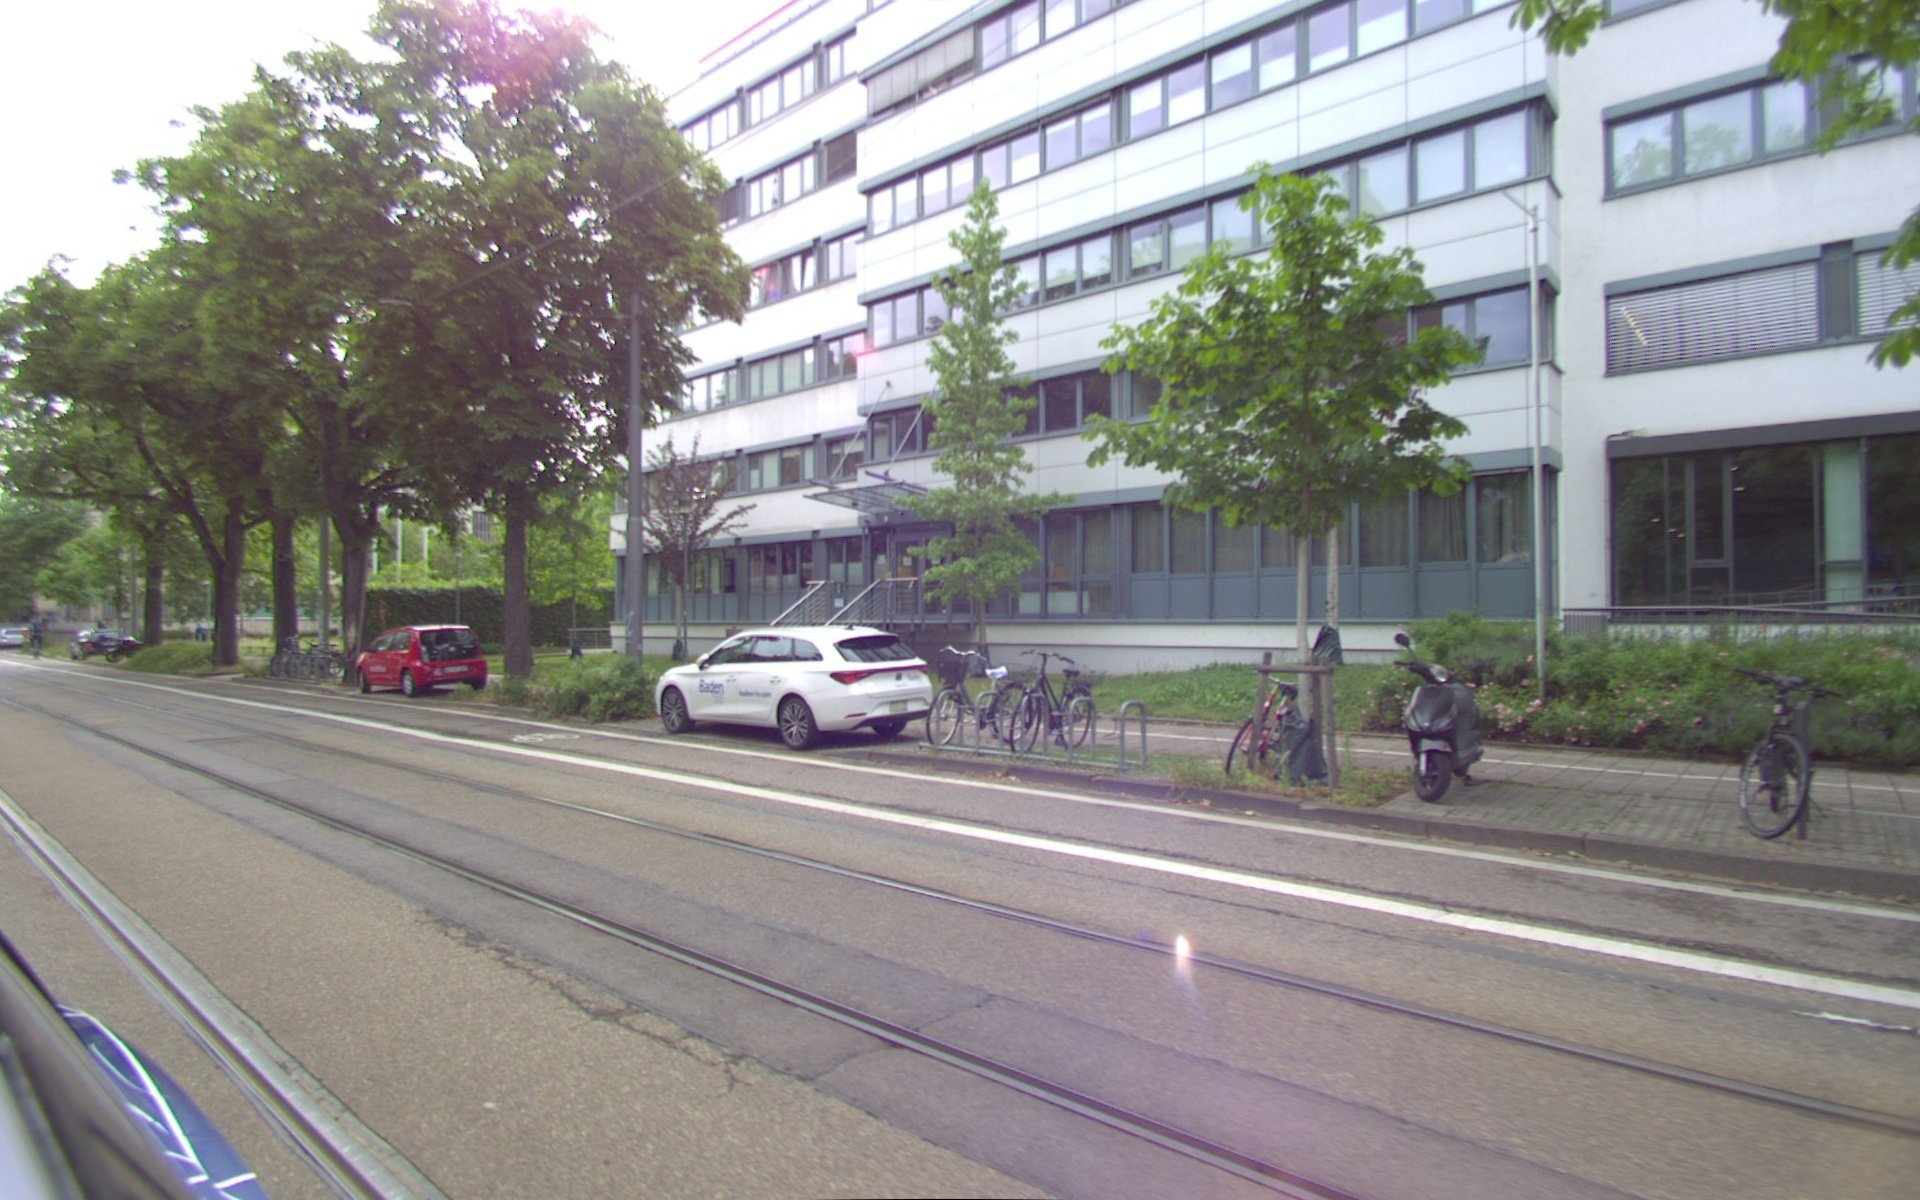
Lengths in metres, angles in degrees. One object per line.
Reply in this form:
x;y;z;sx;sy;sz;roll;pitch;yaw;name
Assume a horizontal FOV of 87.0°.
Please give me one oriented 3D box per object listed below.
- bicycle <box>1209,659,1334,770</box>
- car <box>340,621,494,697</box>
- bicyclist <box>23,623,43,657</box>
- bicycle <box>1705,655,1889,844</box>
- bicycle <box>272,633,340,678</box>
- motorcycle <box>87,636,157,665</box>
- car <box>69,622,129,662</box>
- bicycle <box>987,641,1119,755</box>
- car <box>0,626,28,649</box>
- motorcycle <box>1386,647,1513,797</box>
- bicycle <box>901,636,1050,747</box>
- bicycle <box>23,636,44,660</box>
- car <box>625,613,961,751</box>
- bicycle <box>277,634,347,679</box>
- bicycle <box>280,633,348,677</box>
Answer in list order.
3.011;1.041;9.659;0.631;0.906;1.790;0;-2;35;bicycle
-12.093;1.247;22.452;3.752;1.458;1.612;-1;2;38;car
-43.940;1.891;47.972;0.628;1.549;0.955;-1;0;-45;bicyclist
5.745;0.950;7.054;0.739;1.061;1.814;-2;-1;32;bicycle
-18.146;1.526;28.096;0.617;1.149;1.454;-1;0;40;bicycle
-34.188;2.043;41.326;2.100;1.111;0.776;-1;0;-8;motorcycle
-40.393;1.922;47.443;4.002;1.722;1.790;-1;0;44;car
1.054;1.018;11.053;0.631;1.108;1.790;0;-2;35;bicycle
-64.347;2.538;68.233;3.949;1.444;1.825;-1;0;41;car
4.221;0.975;8.664;0.731;1.058;1.773;-1;0;34;motorcycle
0.211;1.027;11.839;1.843;1.195;0.633;2;-3;-45;bicycle
-43.934;2.277;47.974;0.628;1.058;1.995;-1;0;-45;bicycle
-2.390;0.973;13.626;4.751;1.505;1.862;-1;0;41;car
-17.199;1.487;26.886;0.614;1.100;1.460;-1;0;29;bicycle
-17.737;1.498;27.797;0.617;1.149;1.454;-1;-1;40;bicycle
